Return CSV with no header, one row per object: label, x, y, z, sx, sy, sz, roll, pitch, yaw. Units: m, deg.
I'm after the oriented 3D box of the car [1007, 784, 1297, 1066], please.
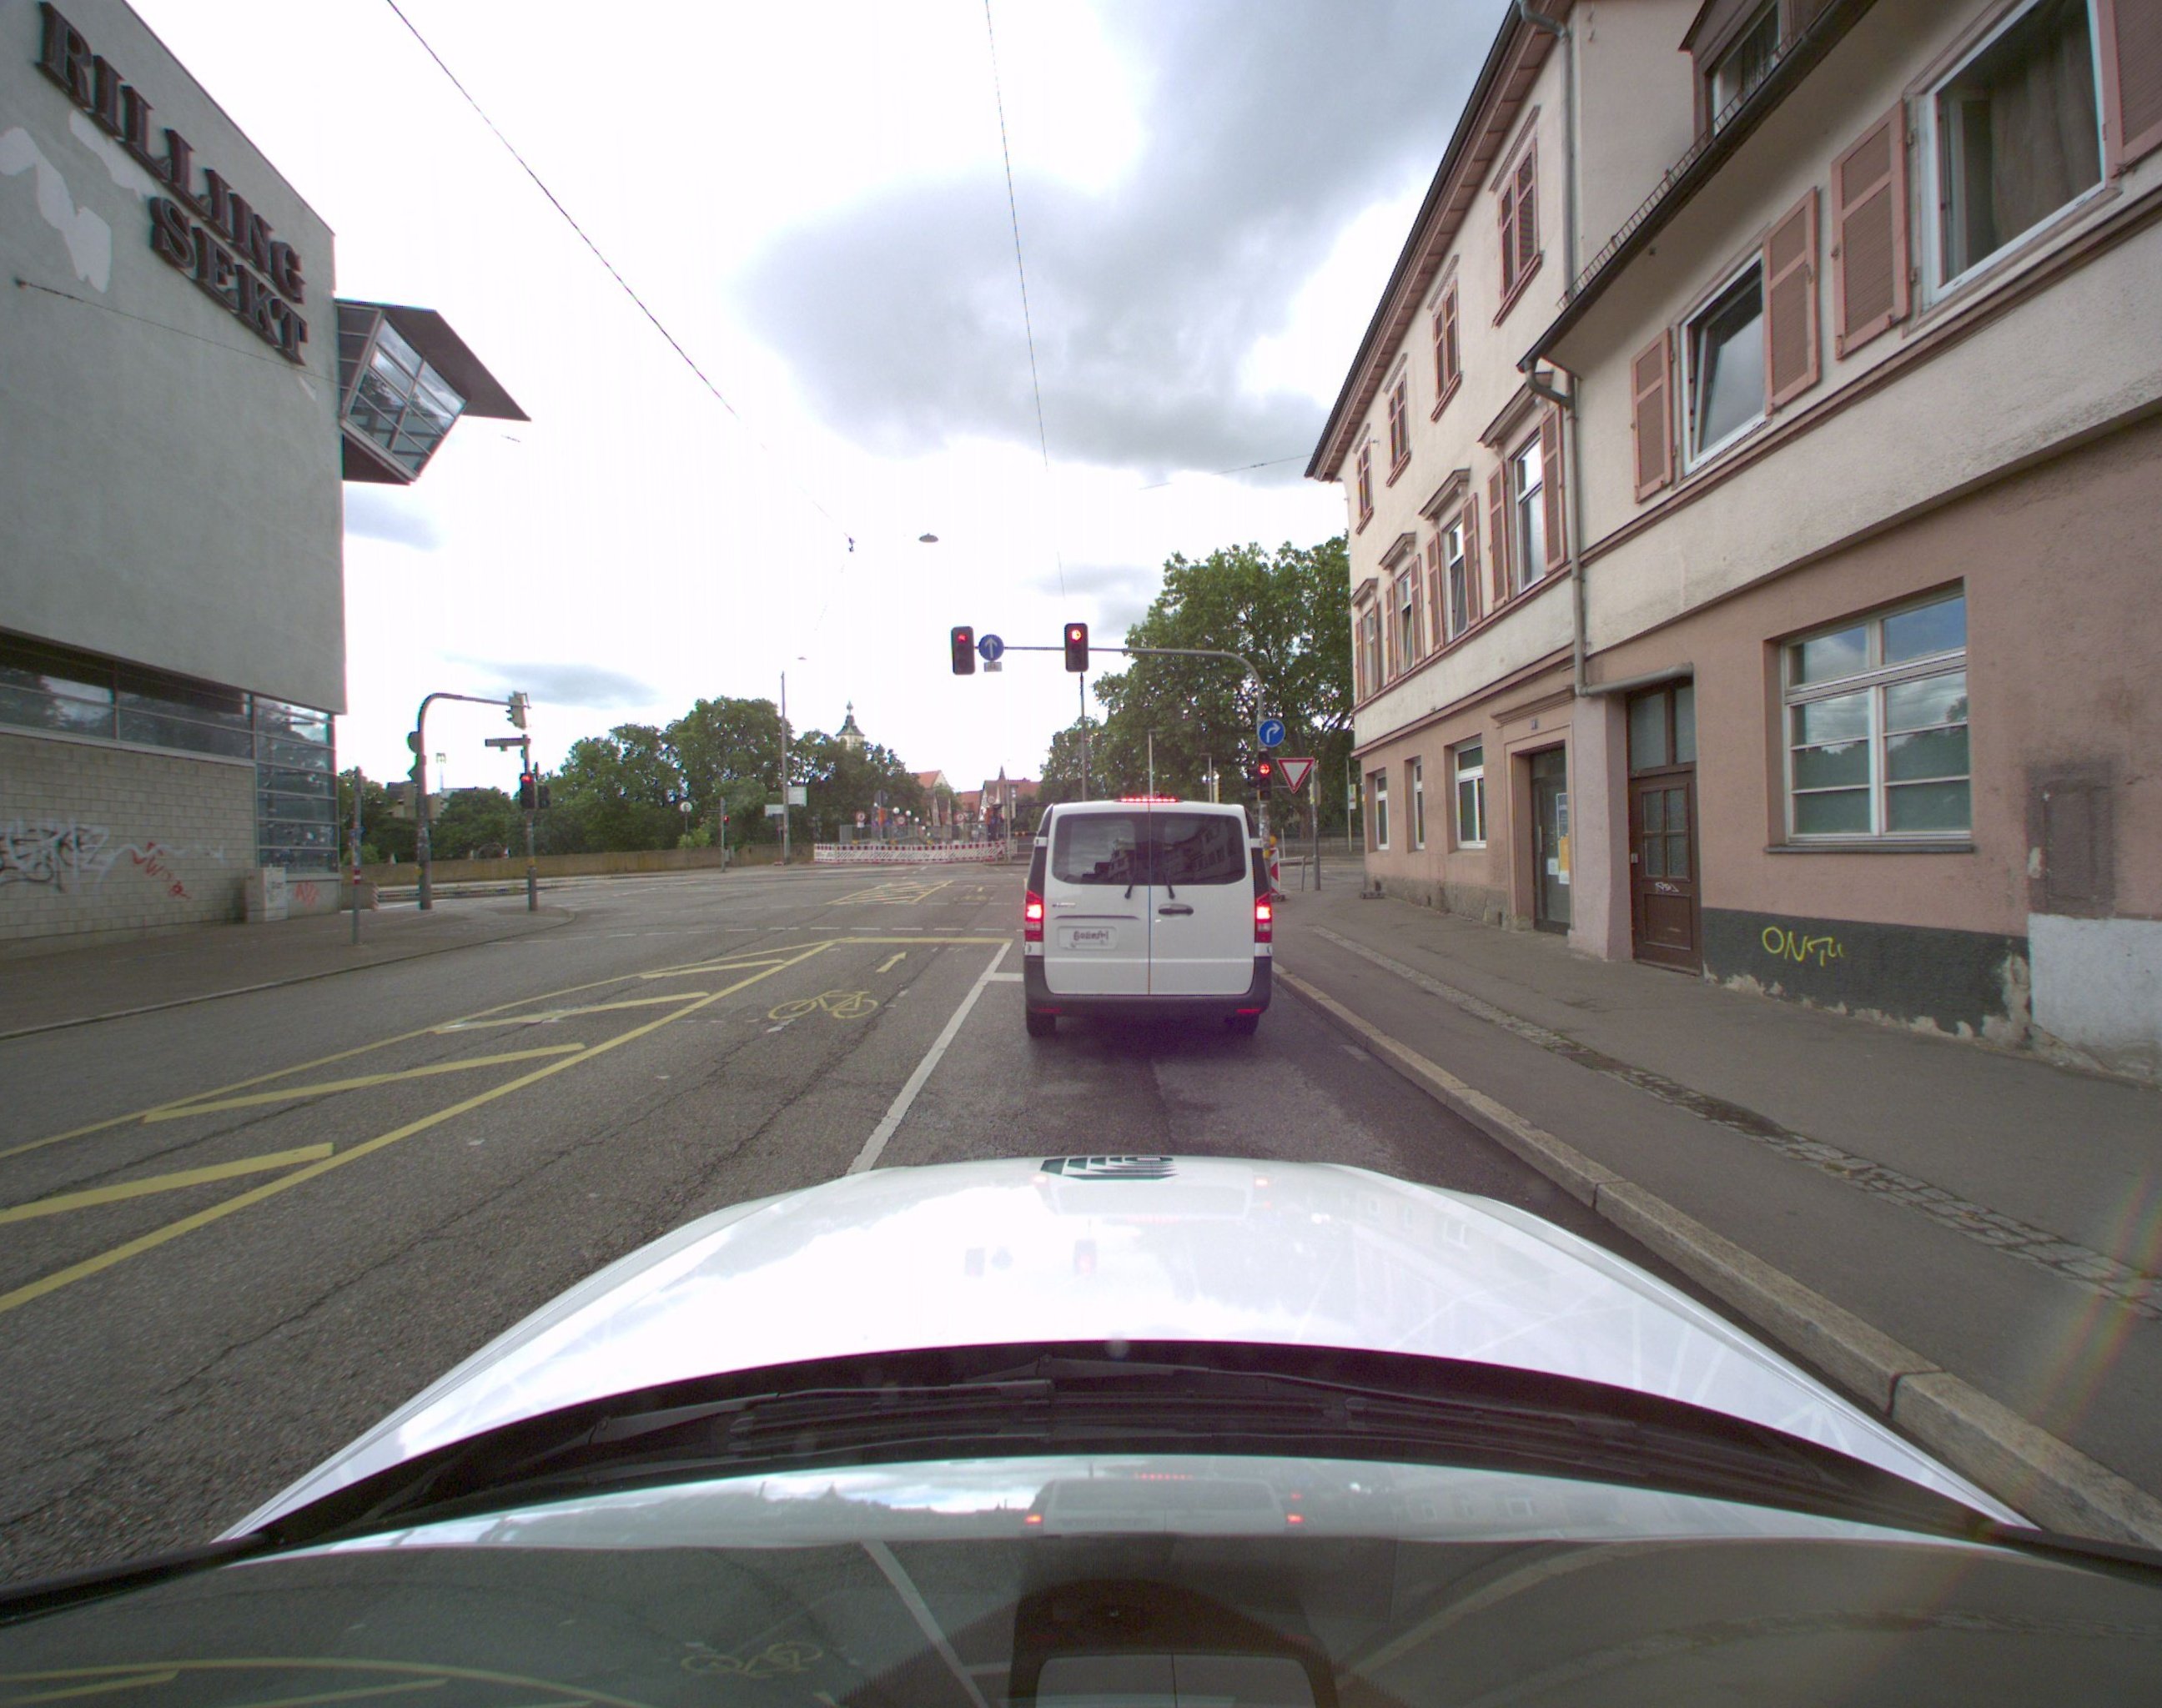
car,0.493,0.425,7.752,1.987,1.922,4.248,-1,2,0
